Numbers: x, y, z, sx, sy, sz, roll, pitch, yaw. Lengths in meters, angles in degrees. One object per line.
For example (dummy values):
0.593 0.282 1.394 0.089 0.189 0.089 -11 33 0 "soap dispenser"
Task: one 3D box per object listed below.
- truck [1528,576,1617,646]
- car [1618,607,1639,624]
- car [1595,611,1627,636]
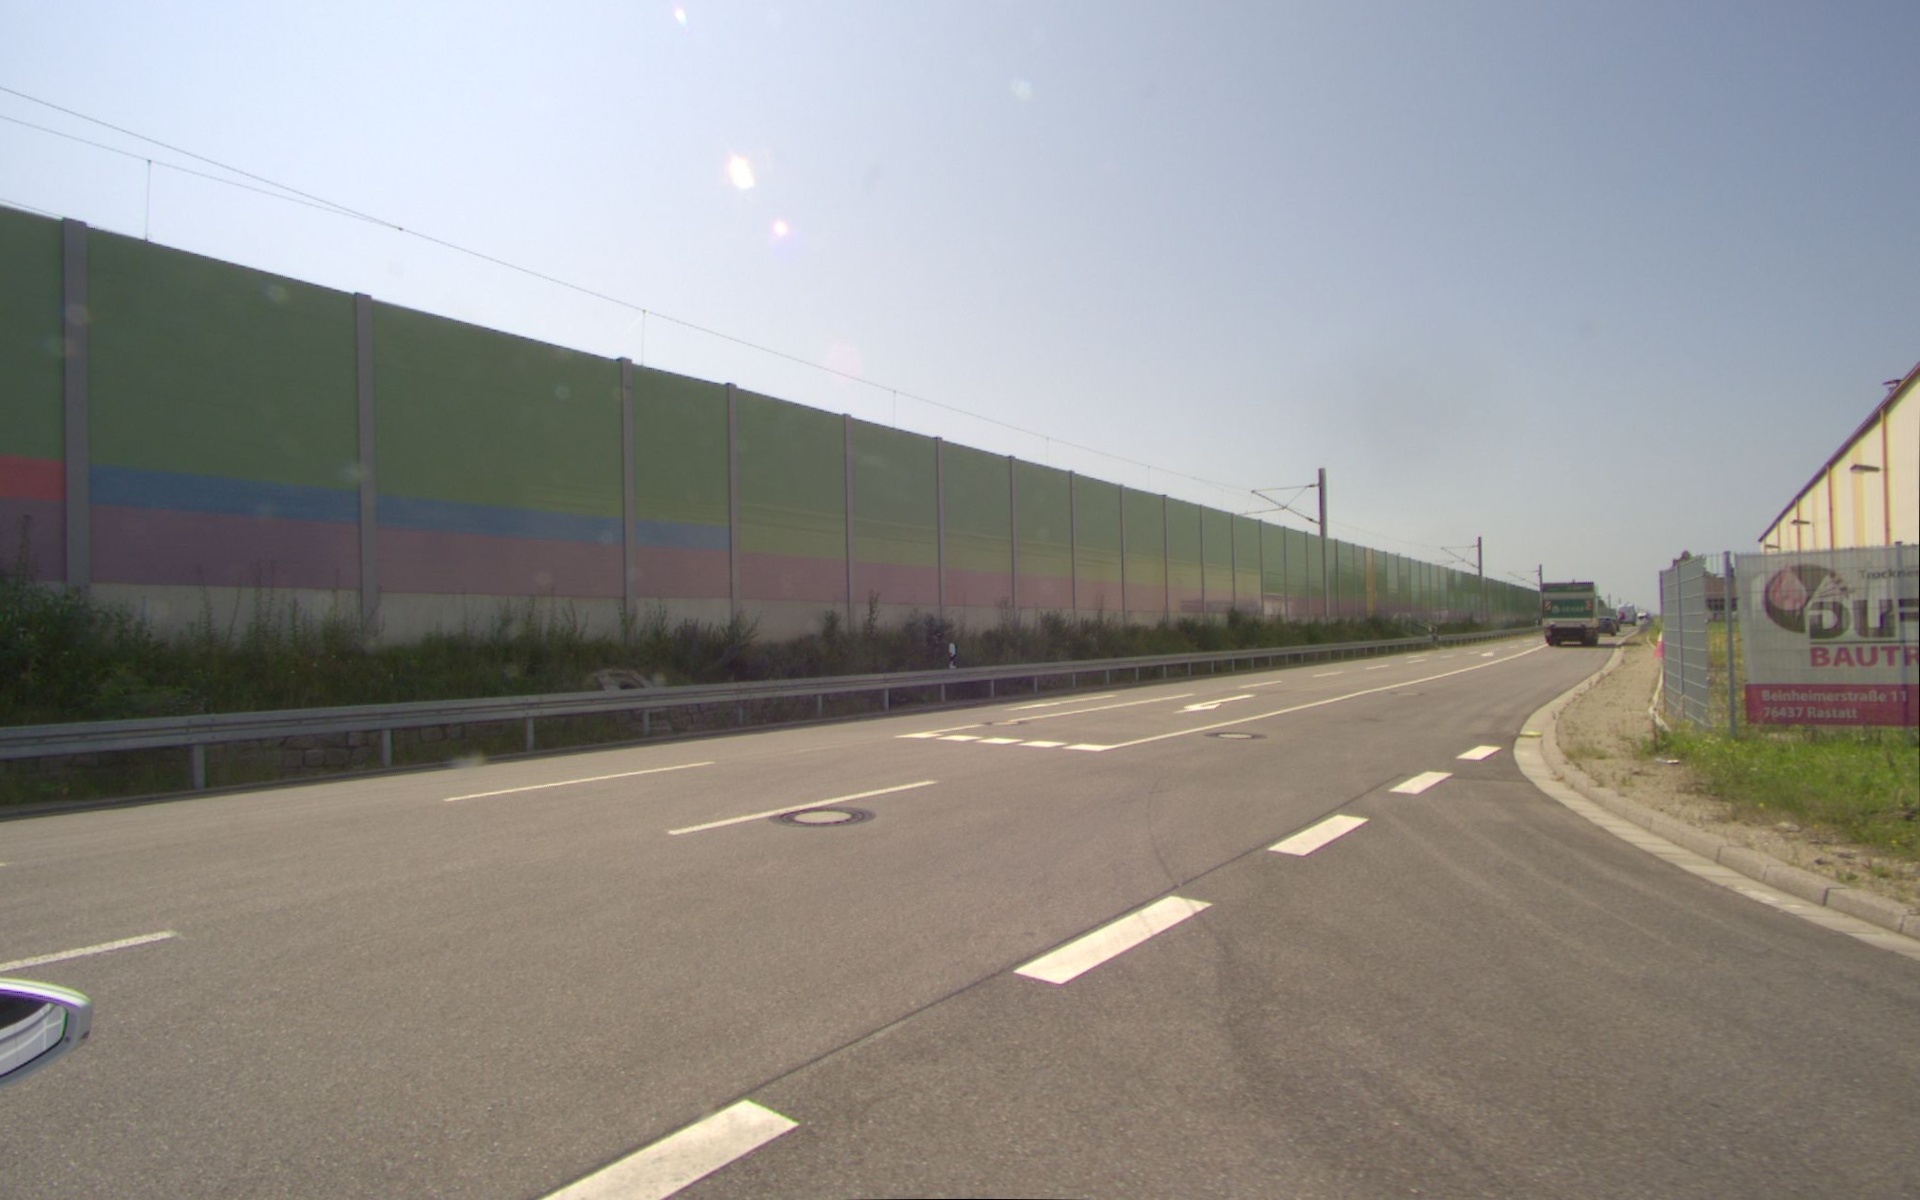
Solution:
37.883 0.854 61.693 3.522 3.926 11.341 -2 -3 37 "truck"
85.792 2.046 128.458 1.975 2.039 3.974 -2 -3 37 "car"
55.729 2.008 85.680 1.975 2.039 3.974 -2 -3 37 "car"
